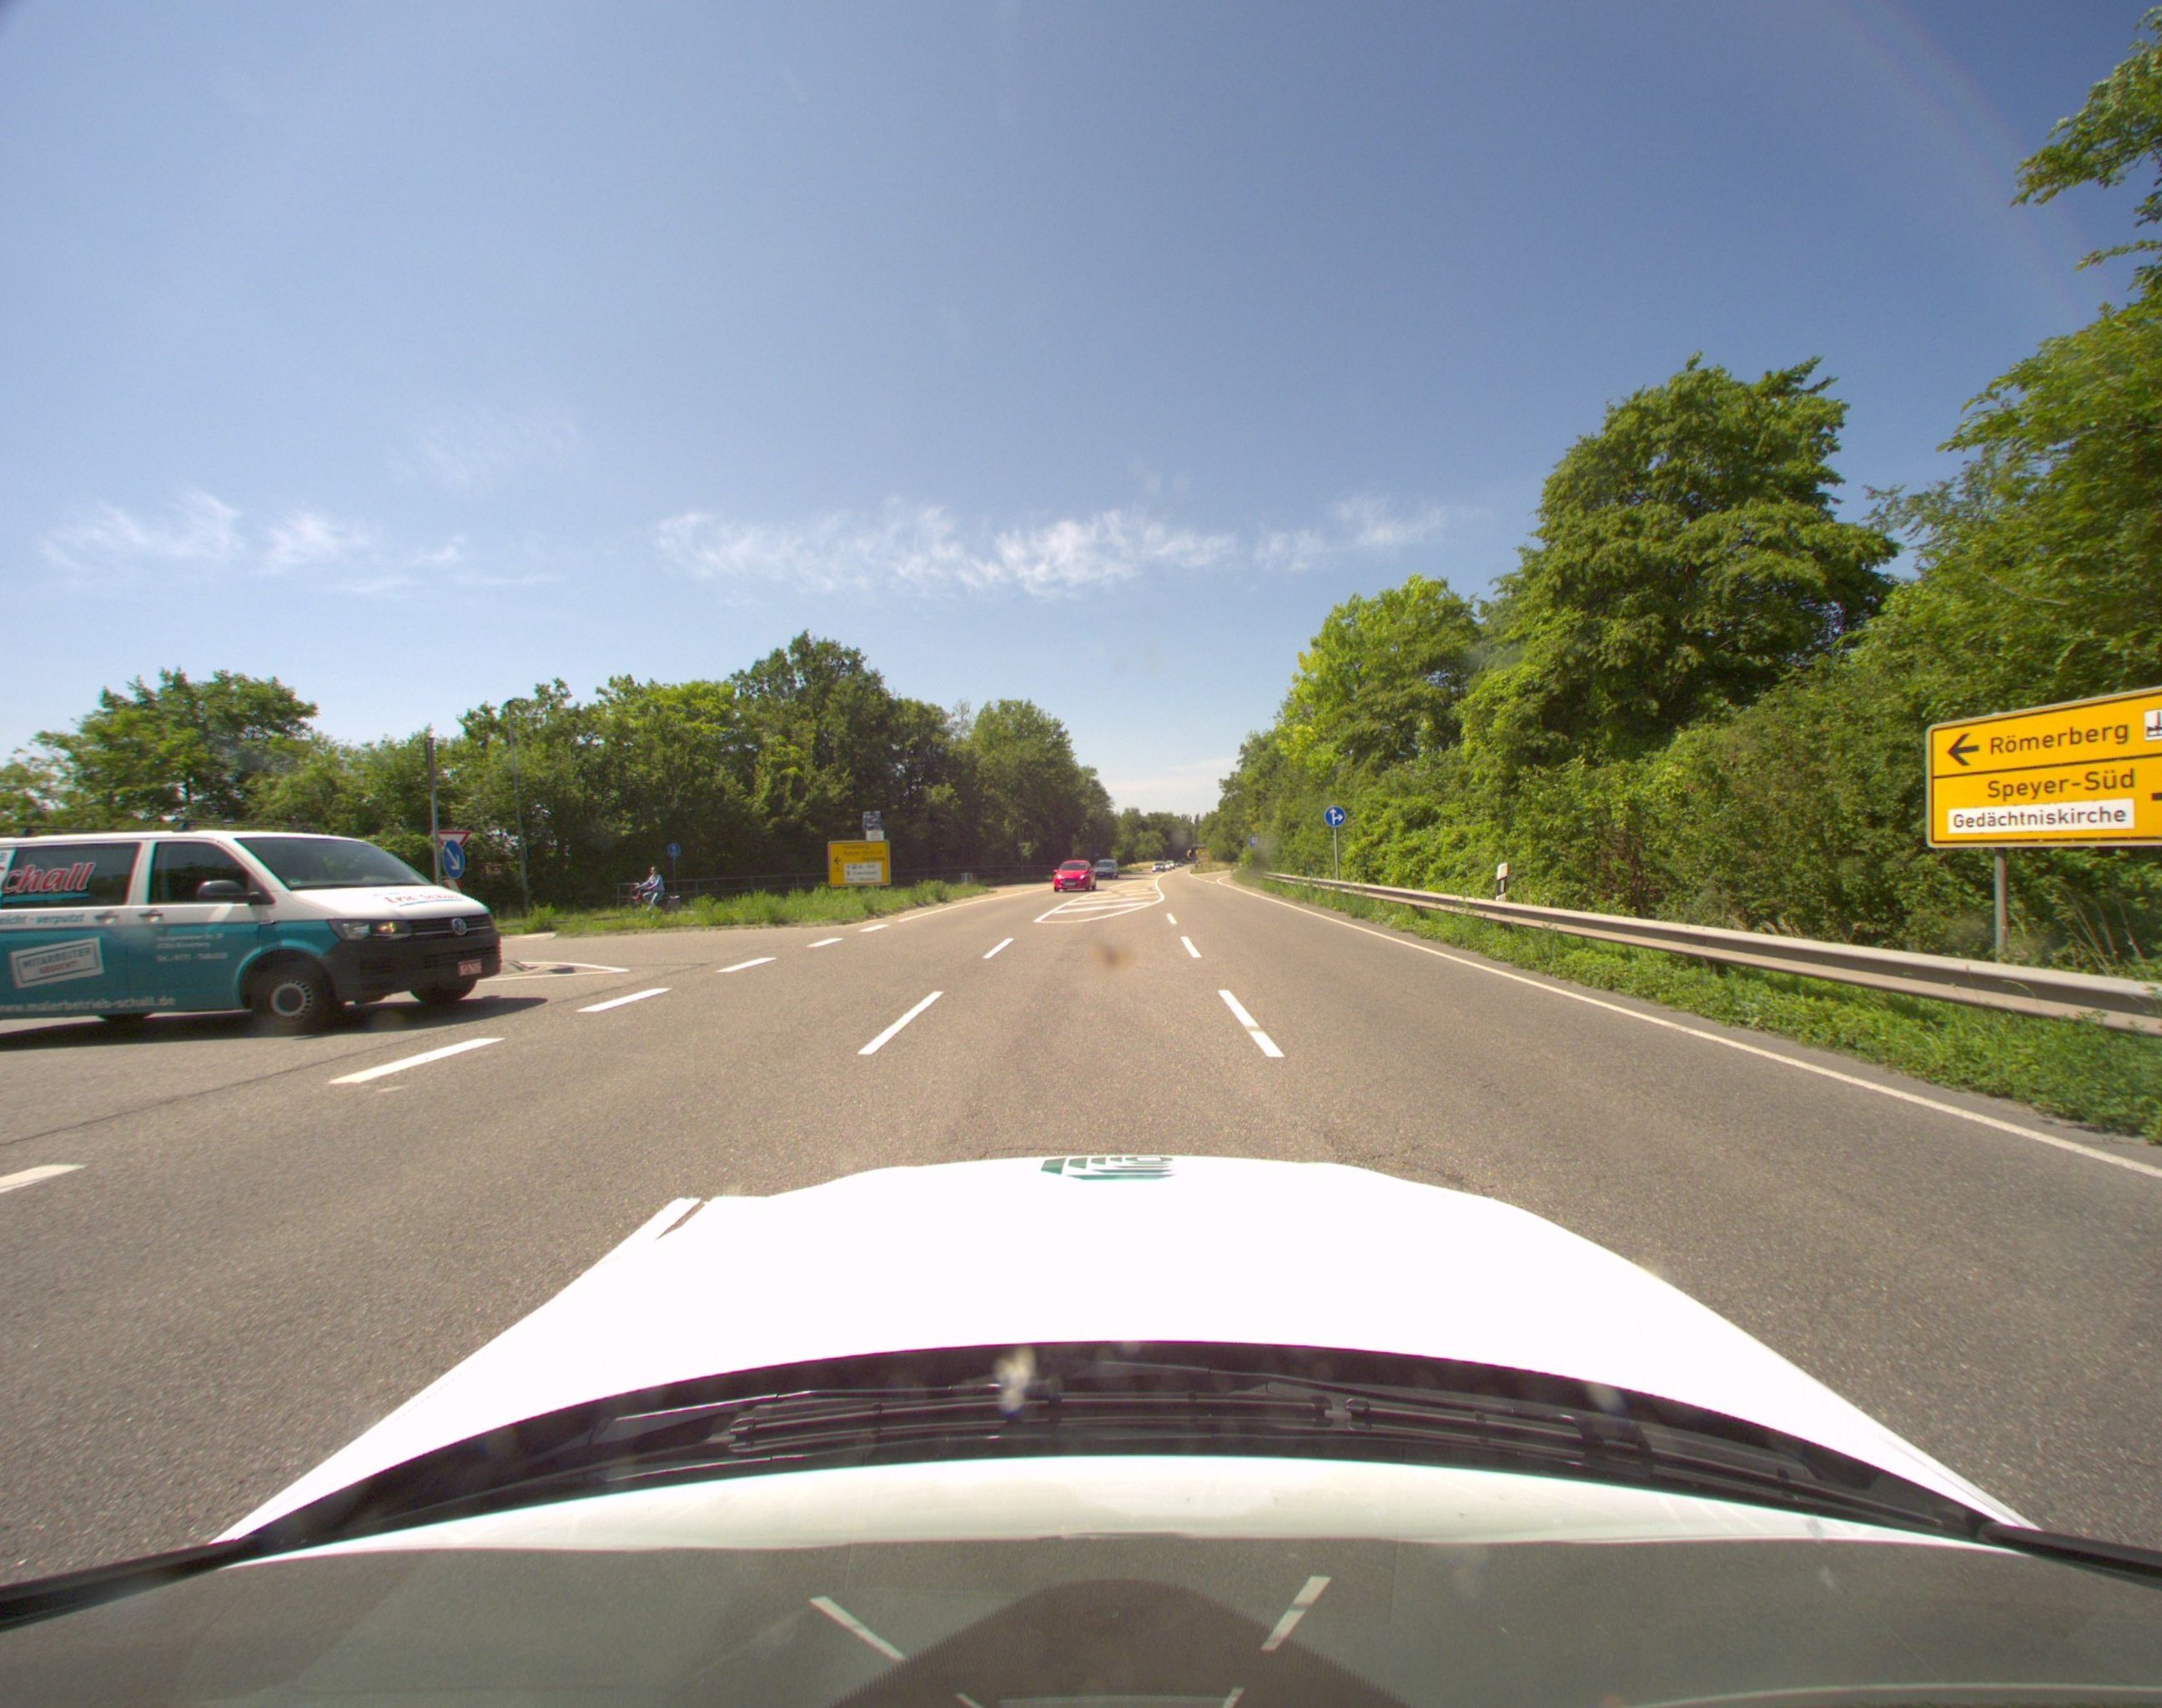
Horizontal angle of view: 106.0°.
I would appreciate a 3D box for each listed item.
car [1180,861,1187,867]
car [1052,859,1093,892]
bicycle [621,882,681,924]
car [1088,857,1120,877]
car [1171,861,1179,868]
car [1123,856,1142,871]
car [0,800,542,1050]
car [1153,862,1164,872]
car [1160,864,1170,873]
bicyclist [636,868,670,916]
[{"bbox_3d":[27.095,2.561,214.713,1.709,1.509,3.719,-2,0,10],"label":"car"},{"bbox_3d":[-0.357,0.994,39.073,1.803,1.458,3.759,-1,0,2],"label":"car"},{"bbox_3d":[-12.428,1.397,23.562,0.431,1.113,1.491,-2,-1,36],"label":"bicycle"},{"bbox_3d":[2.163,1.201,75.268,1.979,1.730,4.291,-2,0,14],"label":"car"},{"bbox_3d":[20.494,2.290,177.408,1.710,1.528,3.718,-2,0,9],"label":"car"},{"bbox_3d":[11.191,2.102,178.512,2.004,3.226,4.767,-1,0,-26],"label":"car"},{"bbox_3d":[-8.766,0.671,8.234,5.155,2.027,1.999,-3,0,-1],"label":"car"},{"bbox_3d":[13.070,2.247,137.805,1.668,1.527,4.009,-2,0,8],"label":"car"},{"bbox_3d":[15.774,2.653,153.074,1.667,1.527,4.011,-2,0,10],"label":"car"},{"bbox_3d":[-12.402,1.085,23.609,0.681,1.363,0.613,-2,-1,36],"label":"bicyclist"}]
